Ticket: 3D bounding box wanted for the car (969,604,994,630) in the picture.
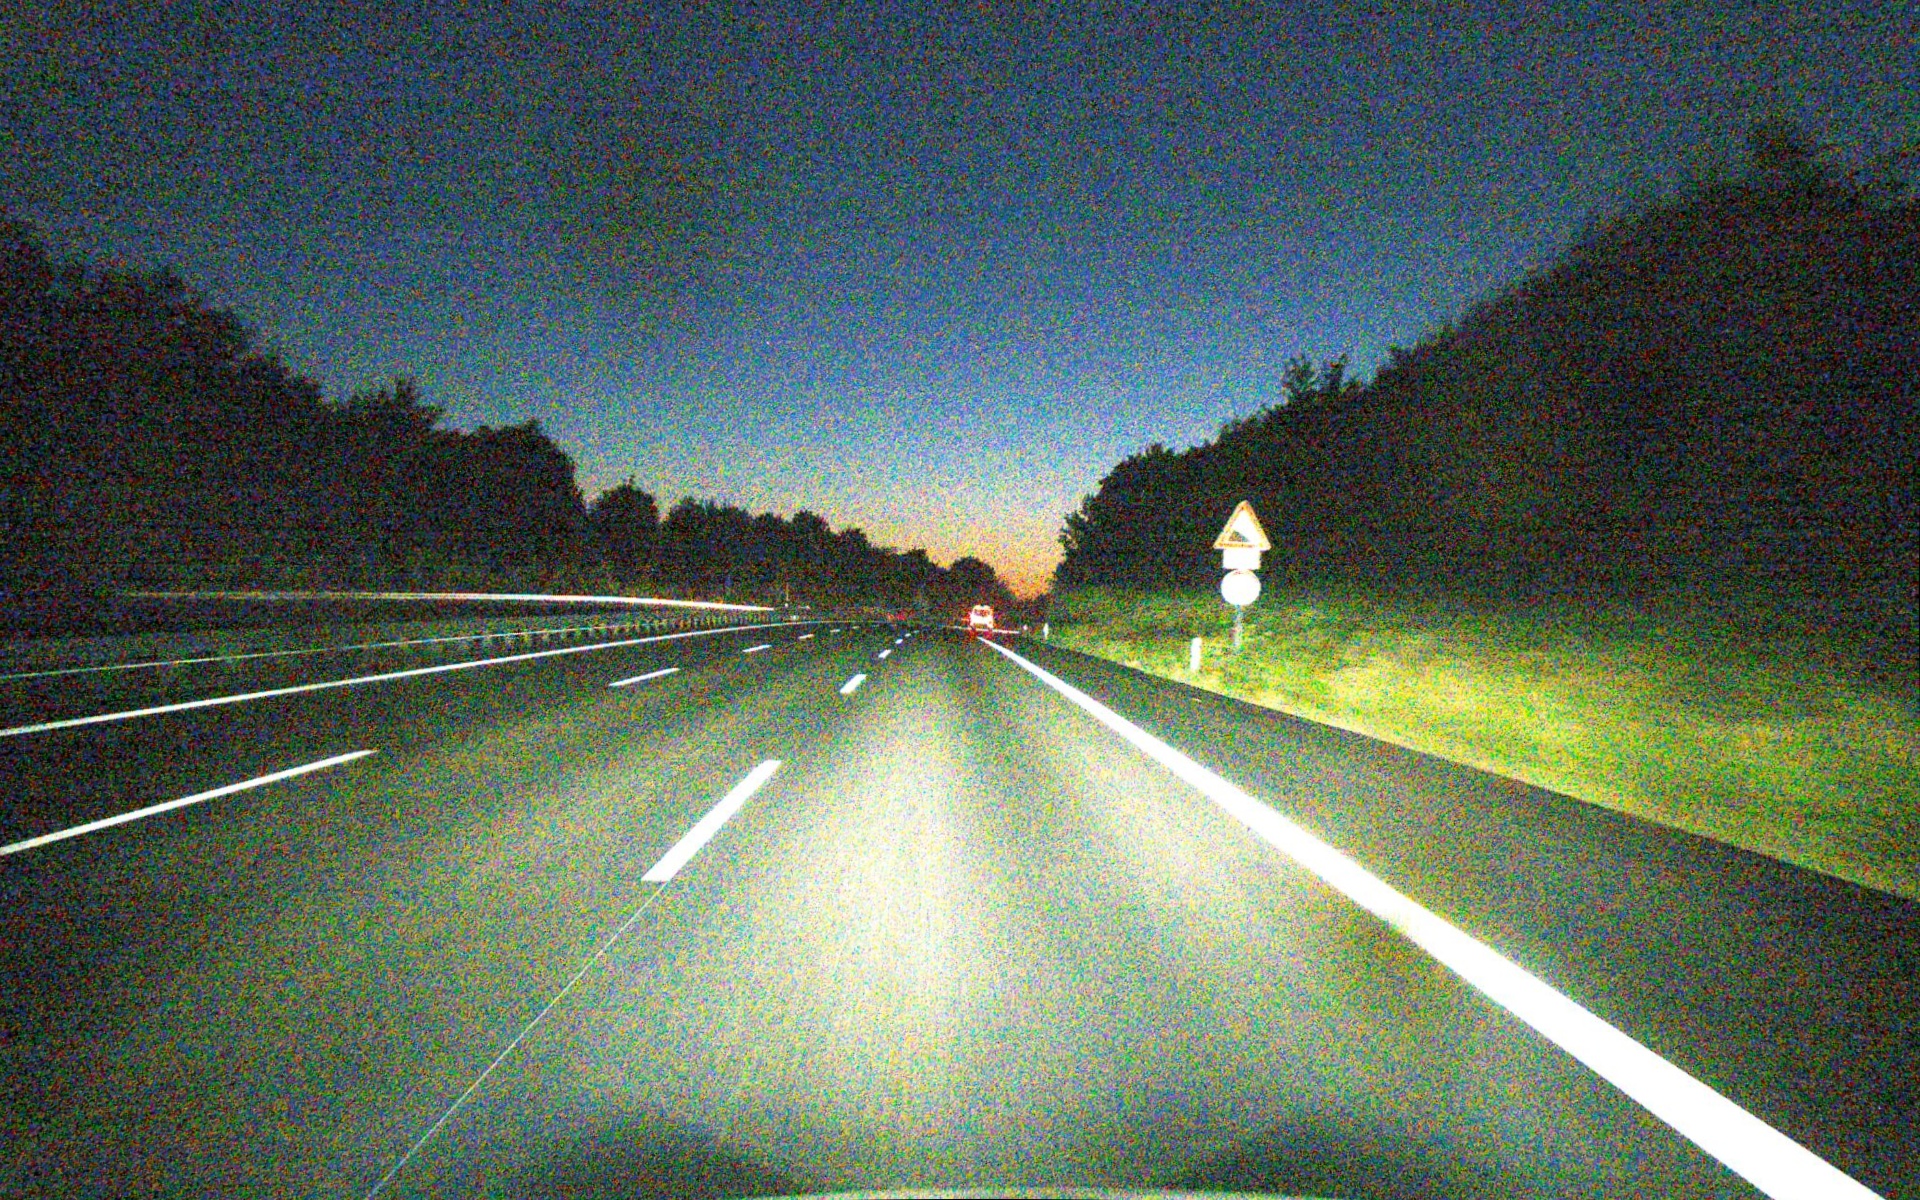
[{"bbox_3d":[2.279,1.742,171.903,2.475,2.598,6.052,1,0,1],"label":"car"}]
